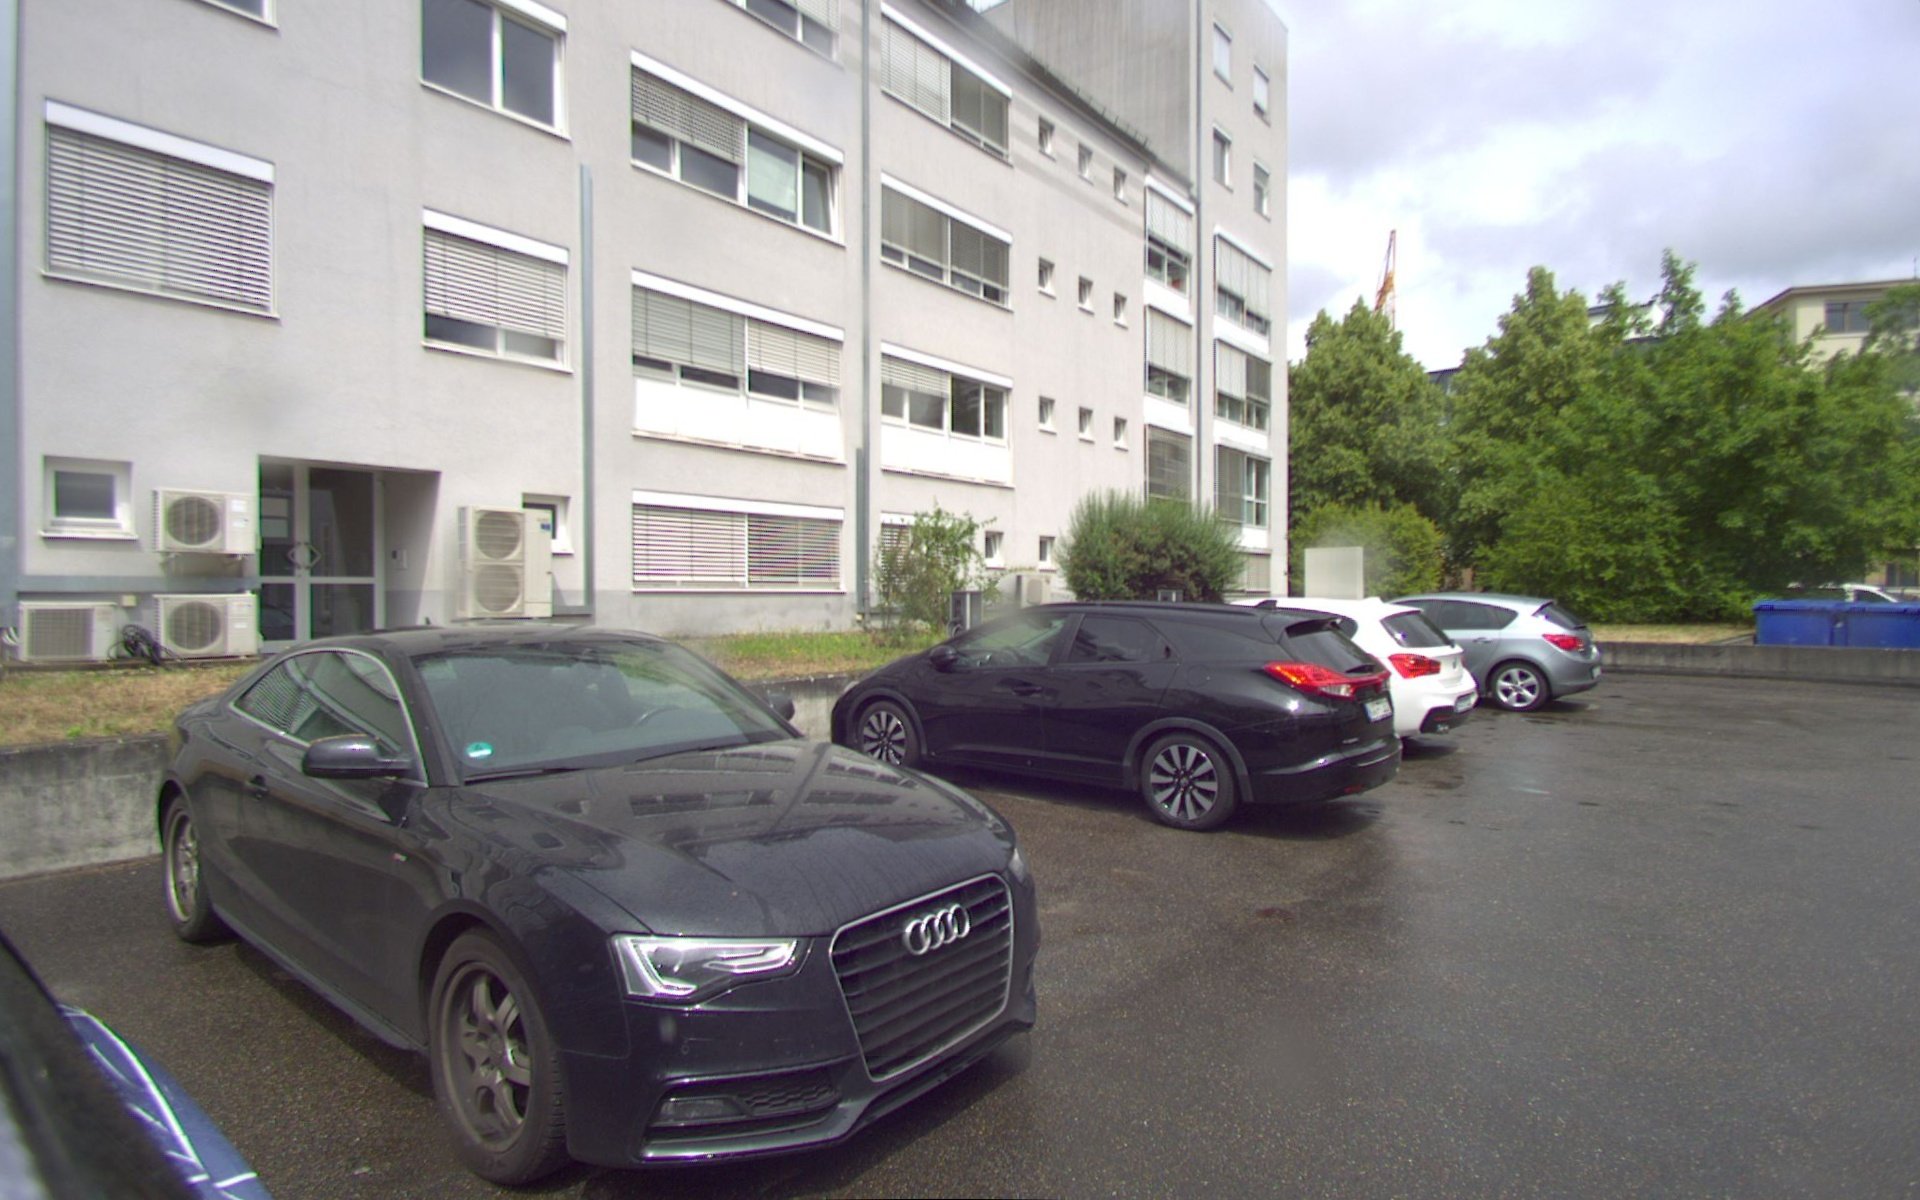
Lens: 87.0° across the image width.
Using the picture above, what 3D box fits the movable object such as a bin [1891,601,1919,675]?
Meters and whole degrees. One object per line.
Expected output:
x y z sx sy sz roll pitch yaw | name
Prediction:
18.104 0.690 18.774 1.190 1.338 1.133 -1 0 -43 | movable object such as a bin

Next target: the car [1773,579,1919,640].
27.566 0.273 30.656 1.695 1.740 4.341 -1 0 -40 | car

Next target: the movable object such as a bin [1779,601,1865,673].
16.910 0.707 19.849 1.190 1.338 1.133 -1 0 -43 | movable object such as a bin

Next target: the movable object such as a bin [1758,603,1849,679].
15.652 0.732 18.776 1.190 1.338 1.133 -1 0 -43 | movable object such as a bin

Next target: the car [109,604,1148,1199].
-1.693 0.749 3.986 4.525 1.362 1.740 1 1 39 | car

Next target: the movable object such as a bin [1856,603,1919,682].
16.589 0.724 17.817 1.190 1.335 1.097 -1 0 -43 | movable object such as a bin

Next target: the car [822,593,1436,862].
1.087 0.697 7.680 4.310 1.453 1.741 1 1 38 | car

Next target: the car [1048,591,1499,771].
3.078 0.659 10.420 4.122 1.453 1.674 1 1 40 | car

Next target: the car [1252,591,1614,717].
6.476 0.630 14.108 4.310 1.453 1.740 1 1 38 | car
